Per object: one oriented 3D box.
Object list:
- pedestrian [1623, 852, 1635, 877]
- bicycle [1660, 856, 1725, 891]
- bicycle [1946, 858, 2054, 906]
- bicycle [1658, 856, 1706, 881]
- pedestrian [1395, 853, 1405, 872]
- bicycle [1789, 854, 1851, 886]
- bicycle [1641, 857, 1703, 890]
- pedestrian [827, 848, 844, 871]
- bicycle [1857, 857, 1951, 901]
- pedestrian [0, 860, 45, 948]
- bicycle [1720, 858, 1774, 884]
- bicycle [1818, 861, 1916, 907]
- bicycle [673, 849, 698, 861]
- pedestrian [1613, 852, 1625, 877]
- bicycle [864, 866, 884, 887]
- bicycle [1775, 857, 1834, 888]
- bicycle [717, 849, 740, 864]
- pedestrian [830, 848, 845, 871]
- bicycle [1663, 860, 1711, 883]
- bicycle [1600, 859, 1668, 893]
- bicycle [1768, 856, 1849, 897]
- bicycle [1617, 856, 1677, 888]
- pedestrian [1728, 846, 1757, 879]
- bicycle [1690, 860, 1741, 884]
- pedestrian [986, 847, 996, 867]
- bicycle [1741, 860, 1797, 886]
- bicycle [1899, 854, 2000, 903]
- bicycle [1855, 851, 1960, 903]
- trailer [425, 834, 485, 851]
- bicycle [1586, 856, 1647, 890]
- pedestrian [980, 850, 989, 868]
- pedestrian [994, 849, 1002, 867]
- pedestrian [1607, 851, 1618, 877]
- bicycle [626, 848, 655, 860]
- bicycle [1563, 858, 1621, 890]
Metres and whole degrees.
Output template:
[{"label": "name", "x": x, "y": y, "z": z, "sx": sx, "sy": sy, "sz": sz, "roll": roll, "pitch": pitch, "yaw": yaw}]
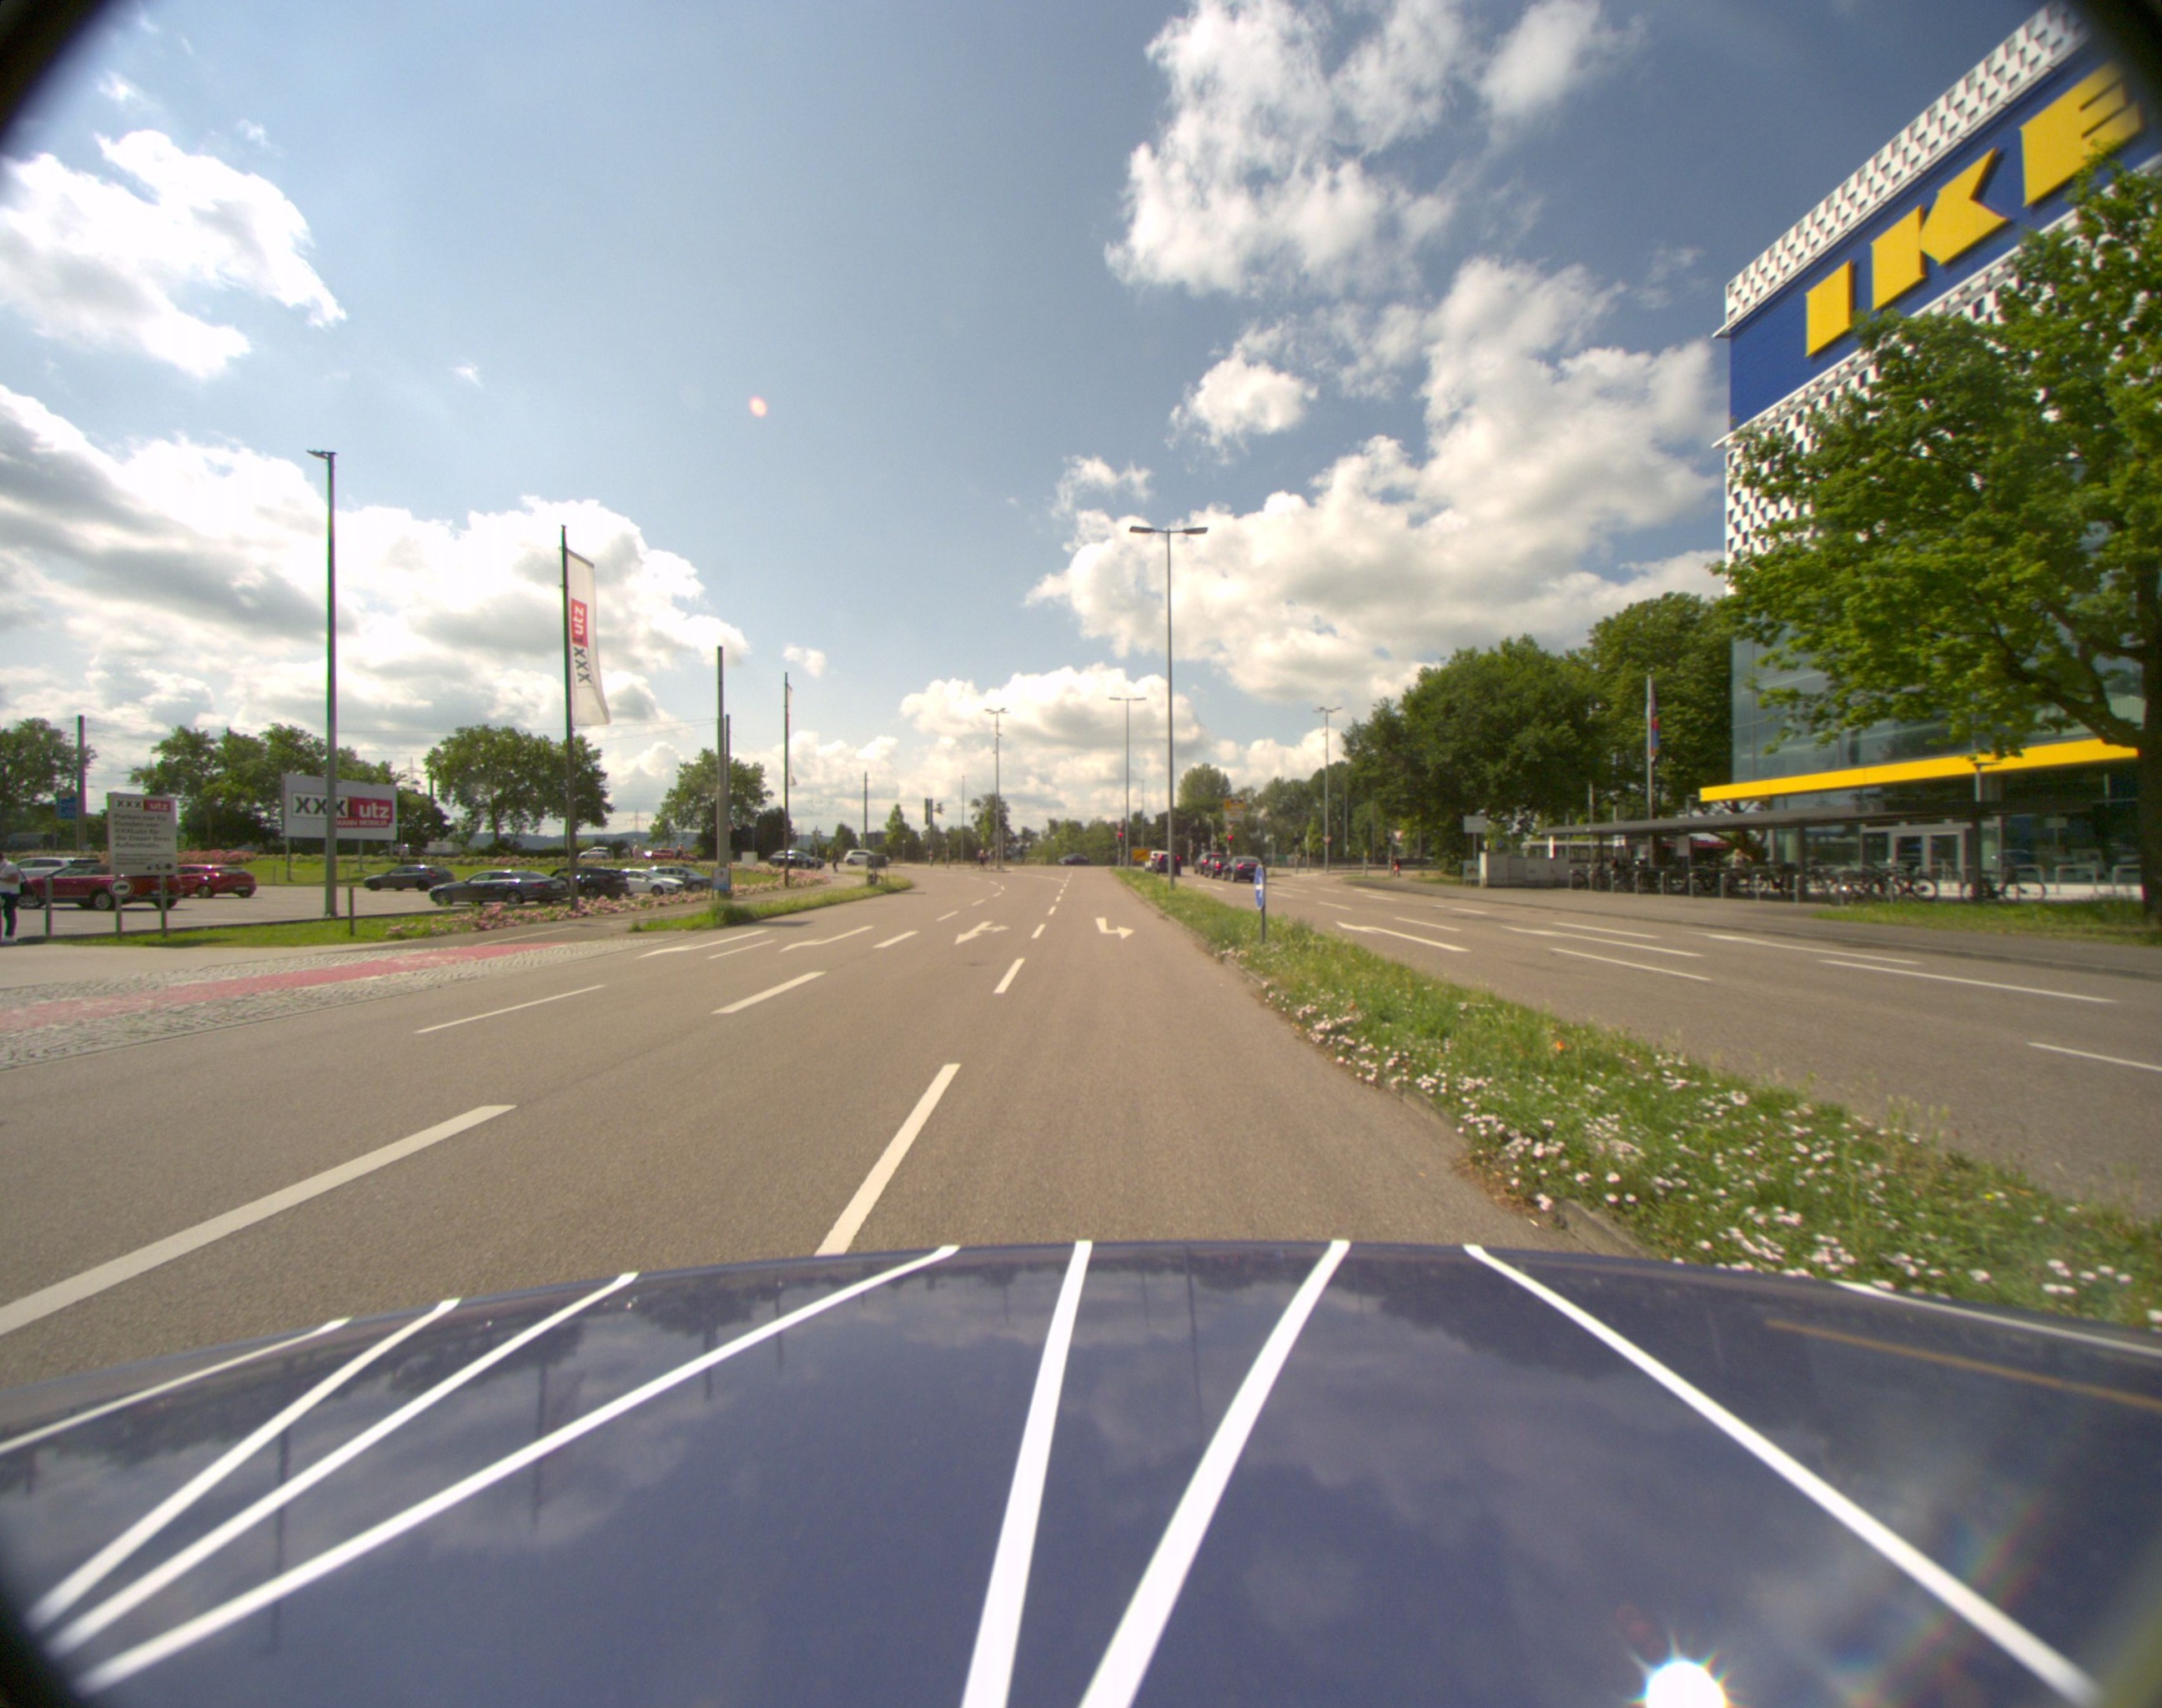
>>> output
[{"label": "pedestrian", "x": 36.906, "y": 0.688, "z": 51.168, "sx": 0.528, "sy": 1.693, "sz": 0.410, "roll": -1, "pitch": 0, "yaw": -8}, {"label": "bicycle", "x": 23.118, "y": 0.741, "z": 28.737, "sx": 1.930, "sy": 1.265, "sz": 0.630, "roll": -1, "pitch": 0, "yaw": 0}, {"label": "bicycle", "x": 23.088, "y": 0.703, "z": 19.108, "sx": 1.930, "sy": 1.177, "sz": 0.630, "roll": -1, "pitch": 0, "yaw": 0}, {"label": "bicycle", "x": 28.963, "y": 0.690, "z": 36.630, "sx": 1.961, "sy": 1.165, "sz": 0.467, "roll": -1, "pitch": 0, "yaw": -3}, {"label": "pedestrian", "x": 24.295, "y": 0.632, "z": 57.870, "sx": 0.439, "sy": 1.481, "sz": 0.619, "roll": -1, "pitch": 0, "yaw": -16}, {"label": "bicycle", "x": 29.040, "y": 0.637, "z": 29.859, "sx": 1.950, "sy": 1.236, "sz": 0.597, "roll": 0, "pitch": 1, "yaw": -4}, {"label": "bicycle", "x": 23.086, "y": 0.753, "z": 29.706, "sx": 1.930, "sy": 1.265, "sz": 0.630, "roll": -1, "pitch": 0, "yaw": 0}, {"label": "pedestrian", "x": -19.175, "y": 0.404, "z": 59.349, "sx": 0.860, "sy": 1.755, "sz": 0.867, "roll": -1, "pitch": 1, "yaw": 28}, {"label": "bicycle", "x": 22.993, "y": 0.698, "z": 21.247, "sx": 1.930, "sy": 1.172, "sz": 0.630, "roll": -1, "pitch": 0, "yaw": 0}, {"label": "pedestrian", "x": -22.145, "y": 1.021, "z": 15.667, "sx": 0.782, "sy": 1.771, "sz": 0.874, "roll": -1, "pitch": -1, "yaw": 40}, {"label": "bicycle", "x": 28.981, "y": 0.746, "z": 33.072, "sx": 1.935, "sy": 1.083, "sz": 0.520, "roll": -1, "pitch": 0, "yaw": -3}, {"label": "bicycle", "x": 20.829, "y": 0.781, "z": 20.156, "sx": 1.930, "sy": 1.176, "sz": 0.630, "roll": -1, "pitch": 0, "yaw": 0}, {"label": "bicycle", "x": -31.786, "y": 0.112, "z": 61.113, "sx": 1.695, "sy": 0.955, "sz": 0.666, "roll": -1, "pitch": -1, "yaw": 1}, {"label": "pedestrian", "x": 35.914, "y": 0.694, "z": 50.701, "sx": 0.410, "sy": 1.693, "sz": 0.516, "roll": -1, "pitch": 0, "yaw": -5}, {"label": "bicycle", "x": -10.147, "y": 1.087, "z": 37.280, "sx": 0.518, "sy": 0.947, "sz": 1.544, "roll": -1, "pitch": 1, "yaw": 1}, {"label": "bicycle", "x": 29.044, "y": 0.724, "z": 30.522, "sx": 1.939, "sy": 1.202, "sz": 0.529, "roll": 0, "pitch": 1, "yaw": -4}, {"label": "bicycle", "x": -28.093, "y": 0.169, "z": 60.566, "sx": 1.503, "sy": 1.158, "sz": 0.621, "roll": -1, "pitch": 0, "yaw": 5}, {"label": "pedestrian", "x": -18.556, "y": 0.425, "z": 57.904, "sx": 0.820, "sy": 1.792, "sz": 0.761, "roll": 0, "pitch": 1, "yaw": 28}, {"label": "bicycle", "x": 28.690, "y": 0.812, "z": 35.980, "sx": 1.939, "sy": 1.064, "sz": 0.529, "roll": 0, "pitch": 1, "yaw": -4}, {"label": "bicycle", "x": 20.887, "y": 0.822, "z": 28.711, "sx": 2.094, "sy": 1.265, "sz": 0.630, "roll": -1, "pitch": 0, "yaw": 0}, {"label": "bicycle", "x": 22.983, "y": 0.714, "z": 24.030, "sx": 1.930, "sy": 1.265, "sz": 0.630, "roll": -1, "pitch": 0, "yaw": 0}, {"label": "bicycle", "x": 23.104, "y": 0.716, "z": 31.039, "sx": 1.930, "sy": 1.265, "sz": 0.630, "roll": -1, "pitch": 0, "yaw": 0}, {"label": "pedestrian", "x": 34.380, "y": 0.427, "z": 39.499, "sx": 0.898, "sy": 1.697, "sz": 0.710, "roll": 0, "pitch": 1, "yaw": 0}, {"label": "bicycle", "x": 28.737, "y": 0.801, "z": 34.425, "sx": 1.939, "sy": 1.064, "sz": 0.529, "roll": 0, "pitch": 1, "yaw": -4}, {"label": "pedestrian", "x": -7.577, "y": 0.245, "z": 63.863, "sx": 0.688, "sy": 1.718, "sz": 0.701, "roll": 1, "pitch": 2, "yaw": 12}, {"label": "bicycle", "x": 29.019, "y": 0.797, "z": 32.059, "sx": 1.939, "sy": 1.064, "sz": 0.529, "roll": 0, "pitch": 1, "yaw": -4}, {"label": "bicycle", "x": 23.015, "y": 0.648, "z": 20.150, "sx": 1.930, "sy": 1.265, "sz": 0.630, "roll": -1, "pitch": 0, "yaw": 0}, {"label": "bicycle", "x": 20.716, "y": 0.577, "z": 19.064, "sx": 1.930, "sy": 1.265, "sz": 0.630, "roll": -1, "pitch": 0, "yaw": 0}, {"label": "trailer", "x": -72.673, "y": -1.307, "z": 88.282, "sx": 5.182, "sy": 1.820, "sz": 1.823, "roll": -1, "pitch": 1, "yaw": -8}, {"label": "bicycle", "x": 20.915, "y": 0.743, "z": 29.708, "sx": 1.930, "sy": 1.265, "sz": 0.630, "roll": -1, "pitch": 0, "yaw": 0}, {"label": "pedestrian", "x": -8.240, "y": 0.397, "z": 64.730, "sx": 0.584, "sy": 1.515, "sz": 0.469, "roll": -1, "pitch": 1, "yaw": 9}, {"label": "pedestrian", "x": -7.171, "y": 0.341, "z": 65.852, "sx": 0.556, "sy": 1.515, "sz": 0.470, "roll": -1, "pitch": 0, "yaw": 9}, {"label": "pedestrian", "x": 35.873, "y": 0.680, "z": 51.252, "sx": 0.404, "sy": 1.693, "sz": 0.450, "roll": -1, "pitch": 0, "yaw": -5}, {"label": "bicycle", "x": -35.506, "y": -0.016, "z": 61.246, "sx": 1.986, "sy": 0.955, "sz": 0.597, "roll": -1, "pitch": -1, "yaw": -2}, {"label": "bicycle", "x": 20.889, "y": 0.802, "z": 31.055, "sx": 1.930, "sy": 1.265, "sz": 0.630, "roll": -1, "pitch": 0, "yaw": 0}]
